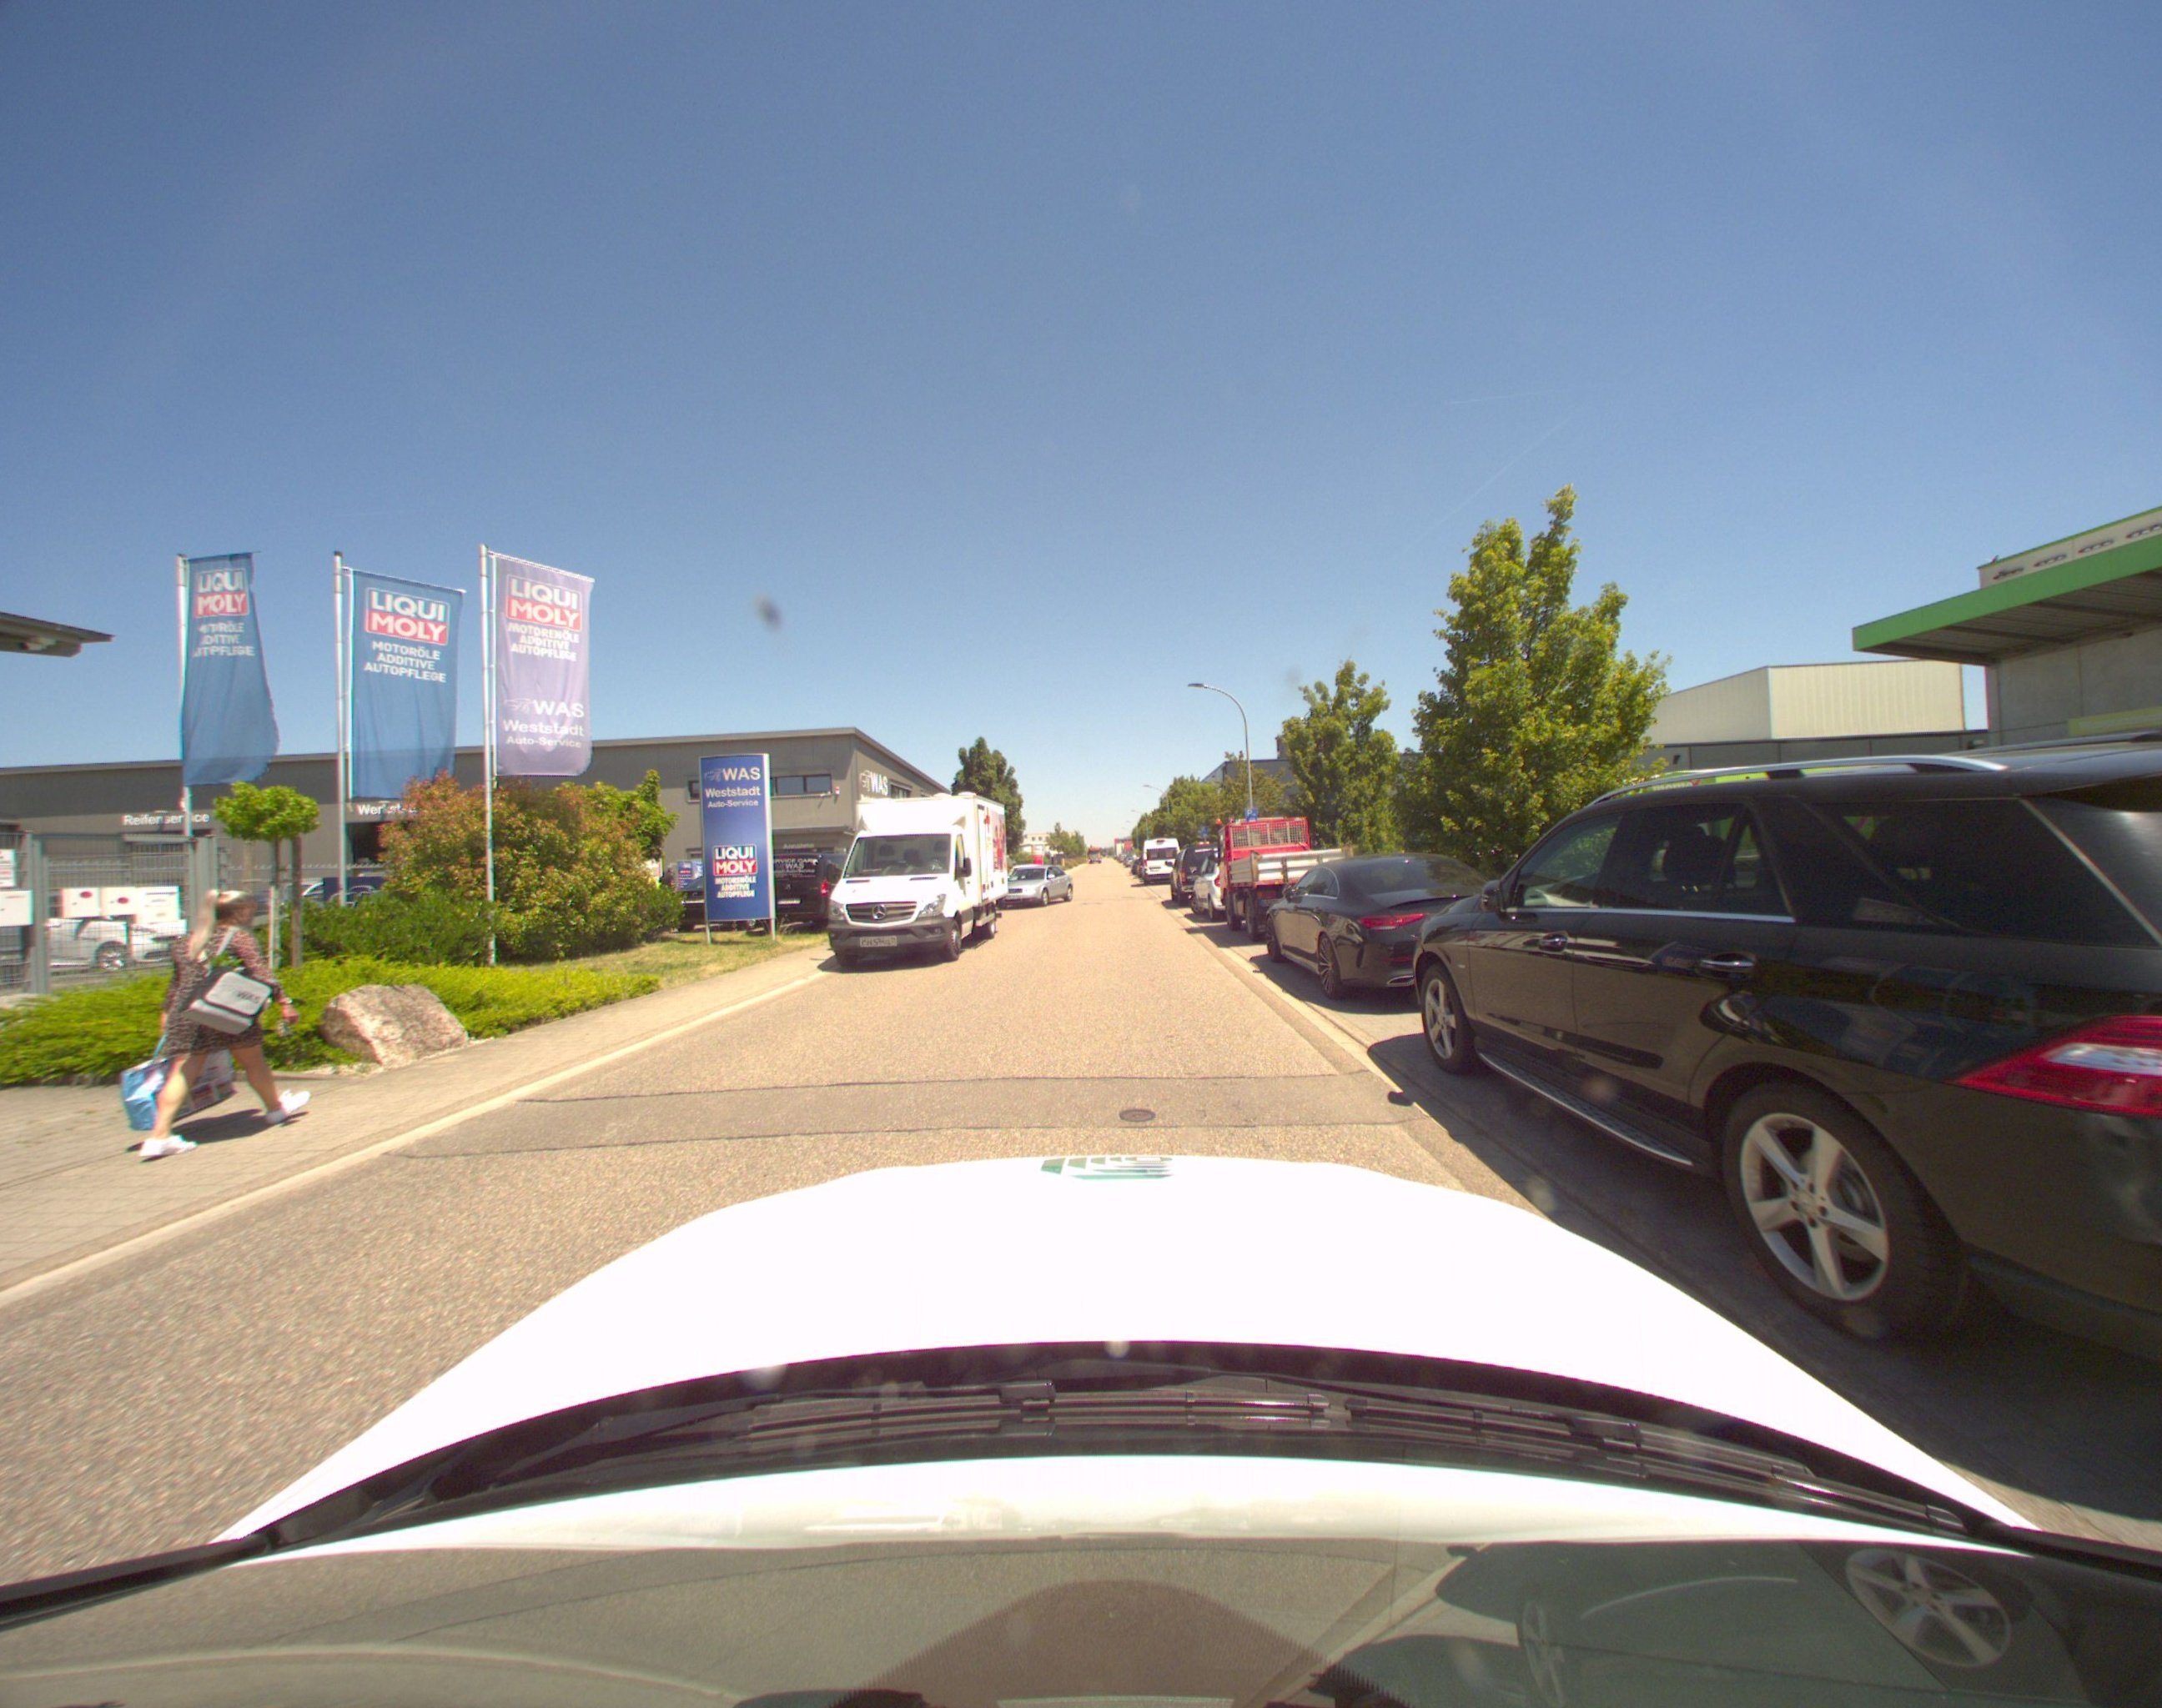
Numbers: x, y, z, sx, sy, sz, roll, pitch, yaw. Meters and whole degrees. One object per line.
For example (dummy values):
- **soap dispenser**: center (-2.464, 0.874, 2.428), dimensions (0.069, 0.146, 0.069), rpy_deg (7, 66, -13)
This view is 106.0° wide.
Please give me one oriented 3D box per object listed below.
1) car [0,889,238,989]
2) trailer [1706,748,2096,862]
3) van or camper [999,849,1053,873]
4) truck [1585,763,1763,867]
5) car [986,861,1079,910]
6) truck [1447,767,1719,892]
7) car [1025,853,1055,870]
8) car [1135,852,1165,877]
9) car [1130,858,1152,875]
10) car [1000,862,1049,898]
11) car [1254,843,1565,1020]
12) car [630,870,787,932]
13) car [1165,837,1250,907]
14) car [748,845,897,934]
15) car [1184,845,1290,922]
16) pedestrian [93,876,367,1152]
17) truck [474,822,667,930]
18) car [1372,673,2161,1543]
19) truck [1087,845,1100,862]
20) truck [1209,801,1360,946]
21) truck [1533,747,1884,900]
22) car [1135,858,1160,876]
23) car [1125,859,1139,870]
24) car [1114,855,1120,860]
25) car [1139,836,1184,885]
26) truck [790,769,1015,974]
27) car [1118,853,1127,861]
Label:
- **car**: center (-17.718, 1.404, 13.746), dimensions (1.924, 1.416, 4.771), rpy_deg (-1, 0, 2)
- **trailer**: center (32.948, -1.883, 33.104), dimensions (12.570, 3.875, 2.805), rpy_deg (-2, -1, 2)
- **van or camper**: center (-7.767, 0.969, 115.460), dimensions (7.359, 3.037, 2.791), rpy_deg (-3, 0, 0)
- **truck**: center (24.128, -1.504, 33.355), dimensions (5.043, 3.875, 2.805), rpy_deg (-2, -1, 2)
- **car**: center (-1.630, 1.061, 29.250), dimensions (1.769, 1.422, 4.434), rpy_deg (-5, -1, 17)
- **truck**: center (13.459, -0.617, 22.187), dimensions (5.801, 2.913, 2.415), rpy_deg (-3, -1, 1)
- **car**: center (-6.686, 1.180, 131.779), dimensions (4.703, 2.586, 1.998), rpy_deg (-3, 0, -3)
- **car**: center (5.370, 0.835, 63.971), dimensions (1.986, 1.825, 4.355), rpy_deg (-3, -1, 1)
- **car**: center (5.638, 1.143, 76.280), dimensions (1.700, 1.504, 4.714), rpy_deg (-3, -1, 7)
- **car**: center (-2.501, 1.150, 37.201), dimensions (1.723, 1.458, 4.493), rpy_deg (-2, -1, 2)
- **car**: center (3.301, 0.673, 9.345), dimensions (1.691, 1.383, 4.840), rpy_deg (-4, -1, 2)
- **car**: center (-9.837, 1.187, 22.006), dimensions (1.924, 1.416, 4.771), rpy_deg (-1, 0, 2)
- **car**: center (3.903, 0.532, 25.948), dimensions (1.986, 1.884, 5.158), rpy_deg (-4, -1, 2)
- **car**: center (-6.487, 0.837, 21.181), dimensions (1.986, 1.956, 5.220), rpy_deg (-2, -1, 2)
- **car**: center (3.653, 0.660, 19.741), dimensions (1.732, 1.530, 4.000), rpy_deg (-4, -1, 0)
- **pedestrian**: center (-5.301, 0.941, 5.132), dimensions (0.895, 1.574, 0.786), rpy_deg (0, 0, 2)
- **truck**: center (-18.969, 0.789, 30.074), dimensions (7.960, 3.557, 2.603), rpy_deg (-1, 0, 31)
- **car**: center (3.106, 0.447, 3.893), dimensions (1.804, 1.725, 4.776), rpy_deg (-4, 0, 2)
- **truck**: center (2.731, -0.097, 173.577), dimensions (2.439, 3.513, 8.276), rpy_deg (-4, 0, 2)
- **truck**: center (3.595, 0.327, 15.189), dimensions (1.673, 2.181, 4.391), rpy_deg (-4, -1, 2)
- **truck**: center (13.555, -0.625, 17.907), dimensions (5.885, 2.872, 2.305), rpy_deg (-3, -1, -2)
- **car**: center (5.709, 1.107, 70.463), dimensions (1.843, 1.431, 4.714), rpy_deg (-3, -1, 2)
- **car**: center (7.095, 1.465, 113.215), dimensions (1.712, 1.450, 3.647), rpy_deg (-3, 0, 2)
- **car**: center (9.963, 0.913, 225.067), dimensions (1.490, 1.409, 3.501), rpy_deg (-3, 0, 2)
- **car**: center (4.564, 0.376, 46.949), dimensions (2.257, 2.497, 6.158), rpy_deg (-3, -1, 4)
- **truck**: center (-2.914, 0.291, 15.262), dimensions (2.352, 2.860, 6.418), rpy_deg (-4, -1, 2)
- **car**: center (8.191, 0.590, 160.439), dimensions (1.579, 1.409, 3.501), rpy_deg (-3, 0, 2)
